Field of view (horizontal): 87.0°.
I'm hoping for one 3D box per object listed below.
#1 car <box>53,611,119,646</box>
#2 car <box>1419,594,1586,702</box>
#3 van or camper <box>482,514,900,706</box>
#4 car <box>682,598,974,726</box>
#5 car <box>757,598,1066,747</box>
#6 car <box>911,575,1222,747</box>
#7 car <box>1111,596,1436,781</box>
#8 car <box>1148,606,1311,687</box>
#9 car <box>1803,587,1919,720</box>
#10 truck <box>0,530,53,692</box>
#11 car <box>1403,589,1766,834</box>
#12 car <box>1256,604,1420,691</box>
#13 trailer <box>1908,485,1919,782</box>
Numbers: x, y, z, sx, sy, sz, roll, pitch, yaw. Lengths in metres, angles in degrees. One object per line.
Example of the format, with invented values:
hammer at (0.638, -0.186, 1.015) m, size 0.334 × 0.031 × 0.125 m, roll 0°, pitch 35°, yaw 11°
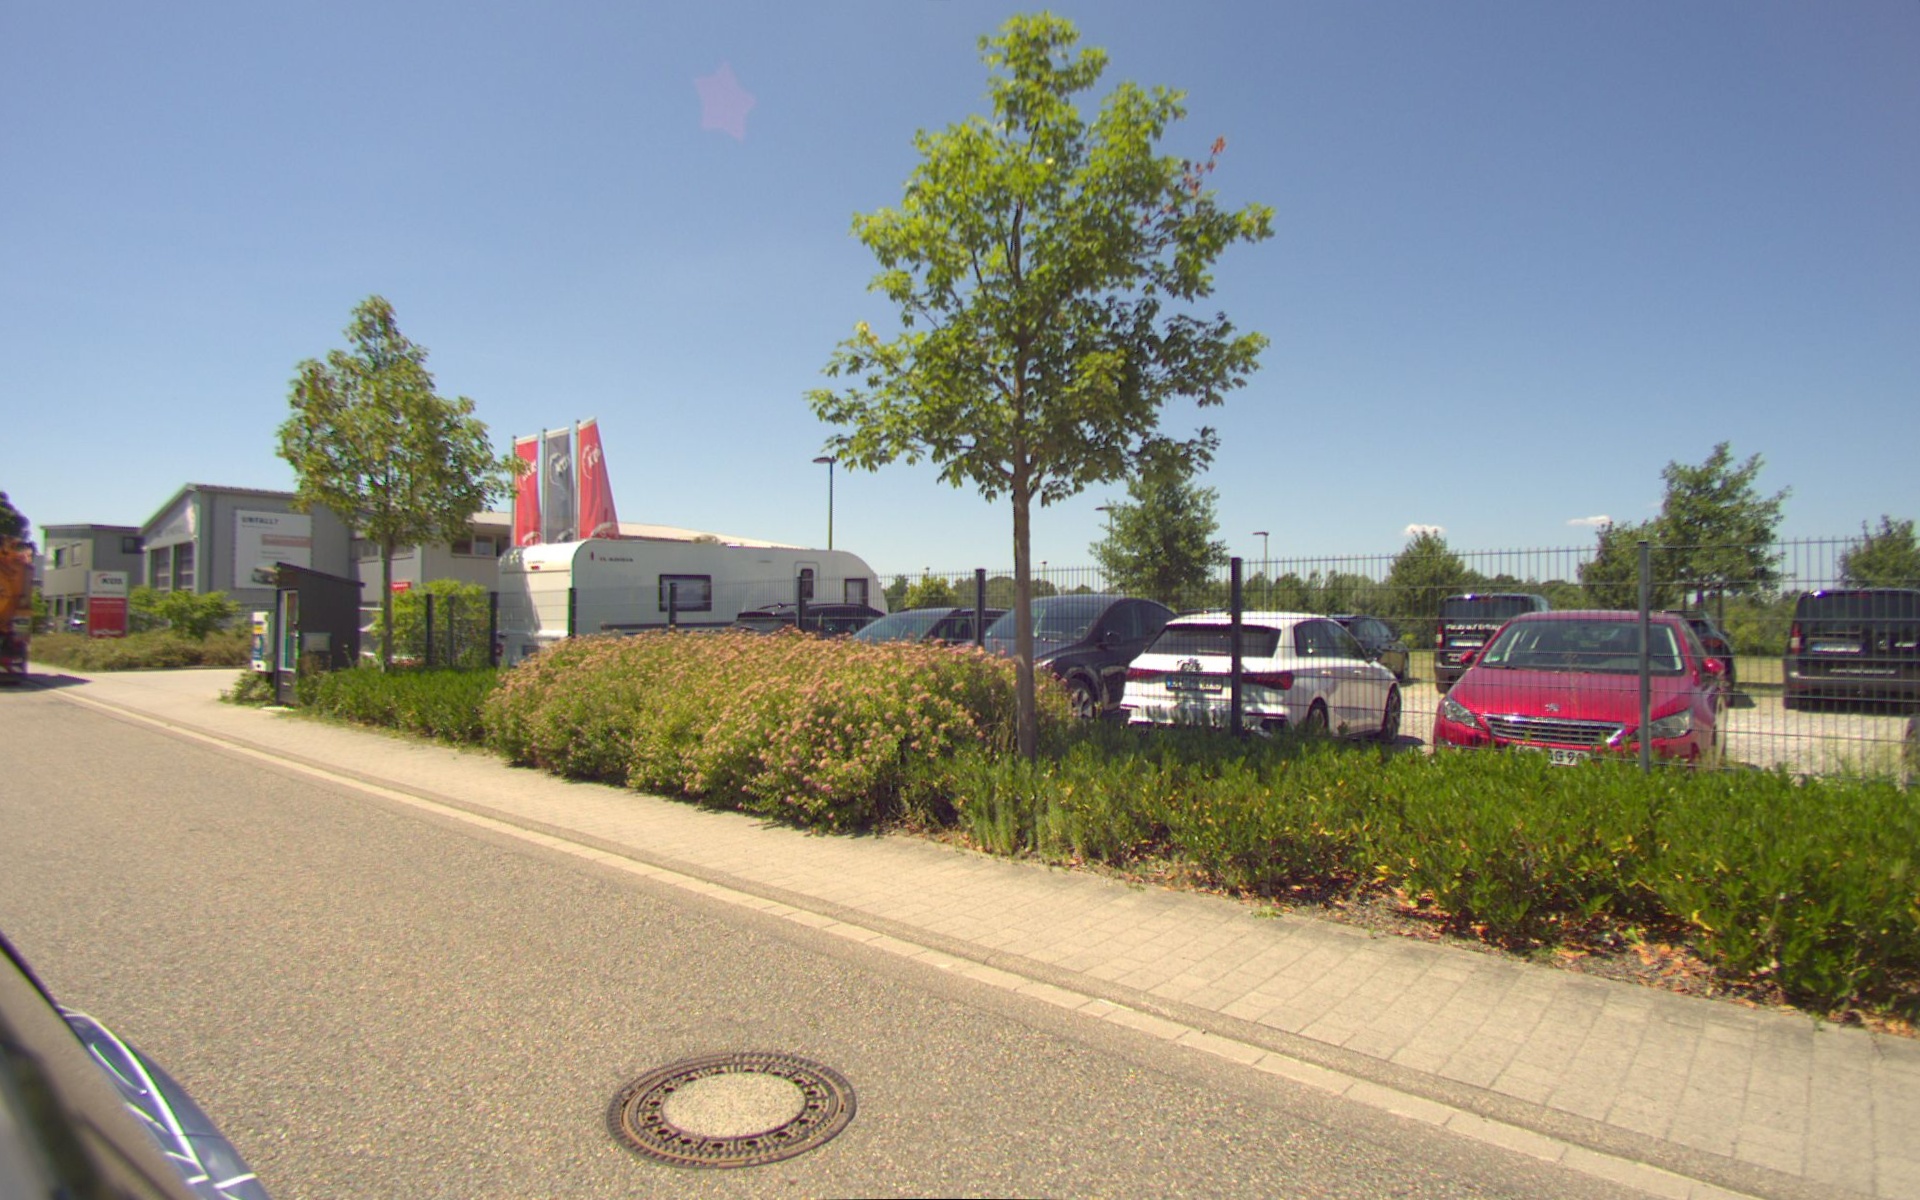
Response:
car at (-45.021, 1.475, 52.104) m, size 3.998 × 1.697 × 1.973 m, roll -1°, pitch -3°, yaw 41°
car at (10.243, 0.842, 18.964) m, size 1.998 × 1.785 × 3.946 m, roll -1°, pitch -2°, yaw 40°
van or camper at (-4.319, 0.239, 17.568) m, size 2.574 × 2.704 × 6.704 m, roll -1°, pitch -2°, yaw 42°
car at (-1.871, 0.859, 15.588) m, size 1.776 × 1.678 × 4.463 m, roll -1°, pitch -2°, yaw 40°
car at (-0.467, 0.864, 13.703) m, size 1.774 × 1.678 × 4.468 m, roll -1°, pitch -2°, yaw 36°
car at (1.485, 0.651, 12.261) m, size 1.773 × 1.678 × 4.469 m, roll -1°, pitch -2°, yaw 36°
car at (3.346, 0.751, 10.251) m, size 1.775 × 1.463 × 4.166 m, roll -1°, pitch -2°, yaw 38°
car at (5.982, 0.964, 22.217) m, size 1.998 × 1.608 × 3.946 m, roll -1°, pitch -2°, yaw 40°
car at (13.960, 0.758, 15.324) m, size 1.804 × 1.785 × 3.946 m, roll -1°, pitch -2°, yaw 40°
truck at (-25.448, 0.308, 25.360) m, size 10.494 × 3.572 × 2.572 m, roll -1°, pitch -3°, yaw 41°
car at (5.292, 0.714, 8.298) m, size 1.998 × 1.463 × 4.164 m, roll -1°, pitch -2°, yaw 39°
car at (7.906, 0.930, 21.000) m, size 1.998 × 1.608 × 3.946 m, roll -1°, pitch -2°, yaw 40°
trailer at (7.476, 0.286, 6.441) m, size 1.724 × 2.378 × 3.949 m, roll -1°, pitch 0°, yaw 38°
